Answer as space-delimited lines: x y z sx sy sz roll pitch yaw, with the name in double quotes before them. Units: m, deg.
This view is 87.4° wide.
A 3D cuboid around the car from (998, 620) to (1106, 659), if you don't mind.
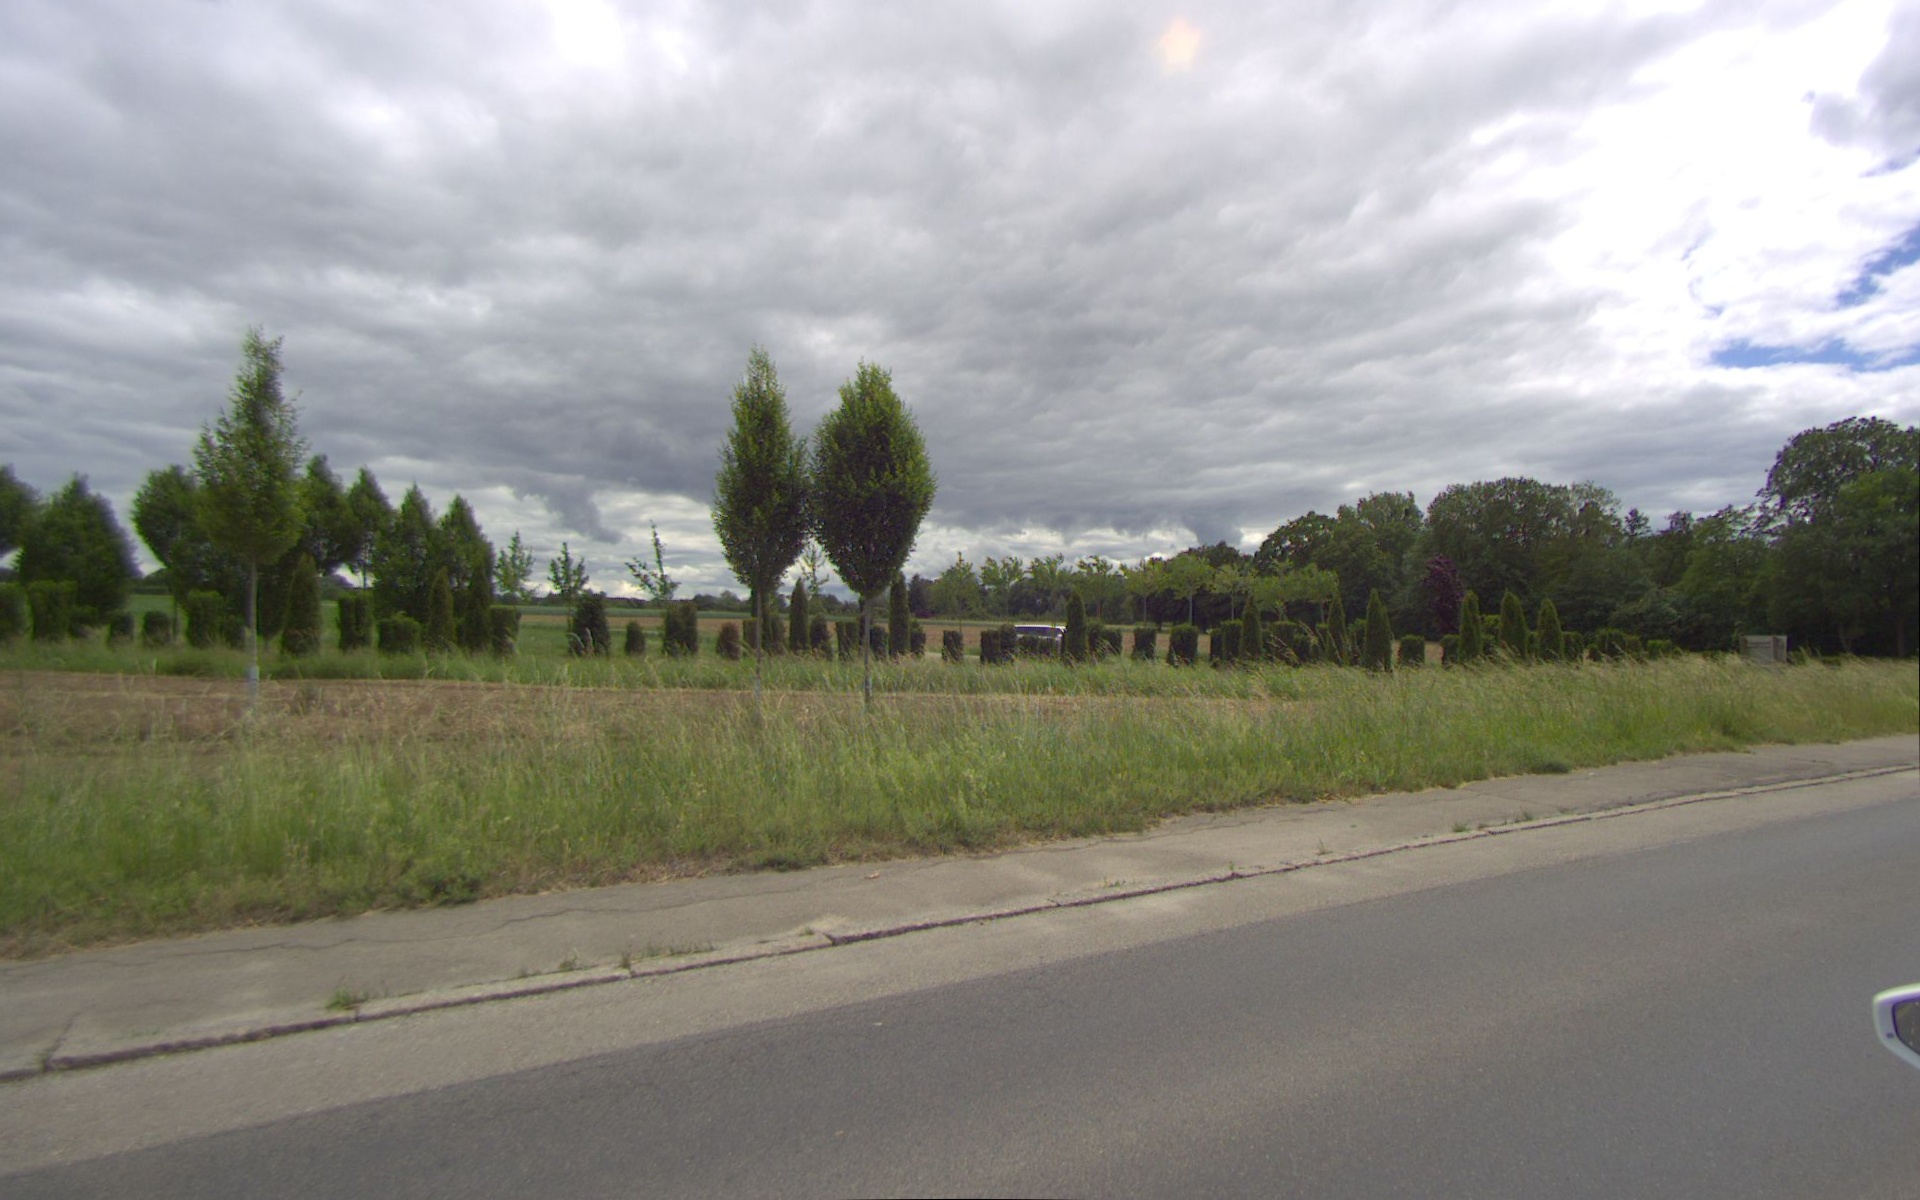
"car" 3.719 1.566 40.400 3.921 1.473 1.975 0 -2 20
